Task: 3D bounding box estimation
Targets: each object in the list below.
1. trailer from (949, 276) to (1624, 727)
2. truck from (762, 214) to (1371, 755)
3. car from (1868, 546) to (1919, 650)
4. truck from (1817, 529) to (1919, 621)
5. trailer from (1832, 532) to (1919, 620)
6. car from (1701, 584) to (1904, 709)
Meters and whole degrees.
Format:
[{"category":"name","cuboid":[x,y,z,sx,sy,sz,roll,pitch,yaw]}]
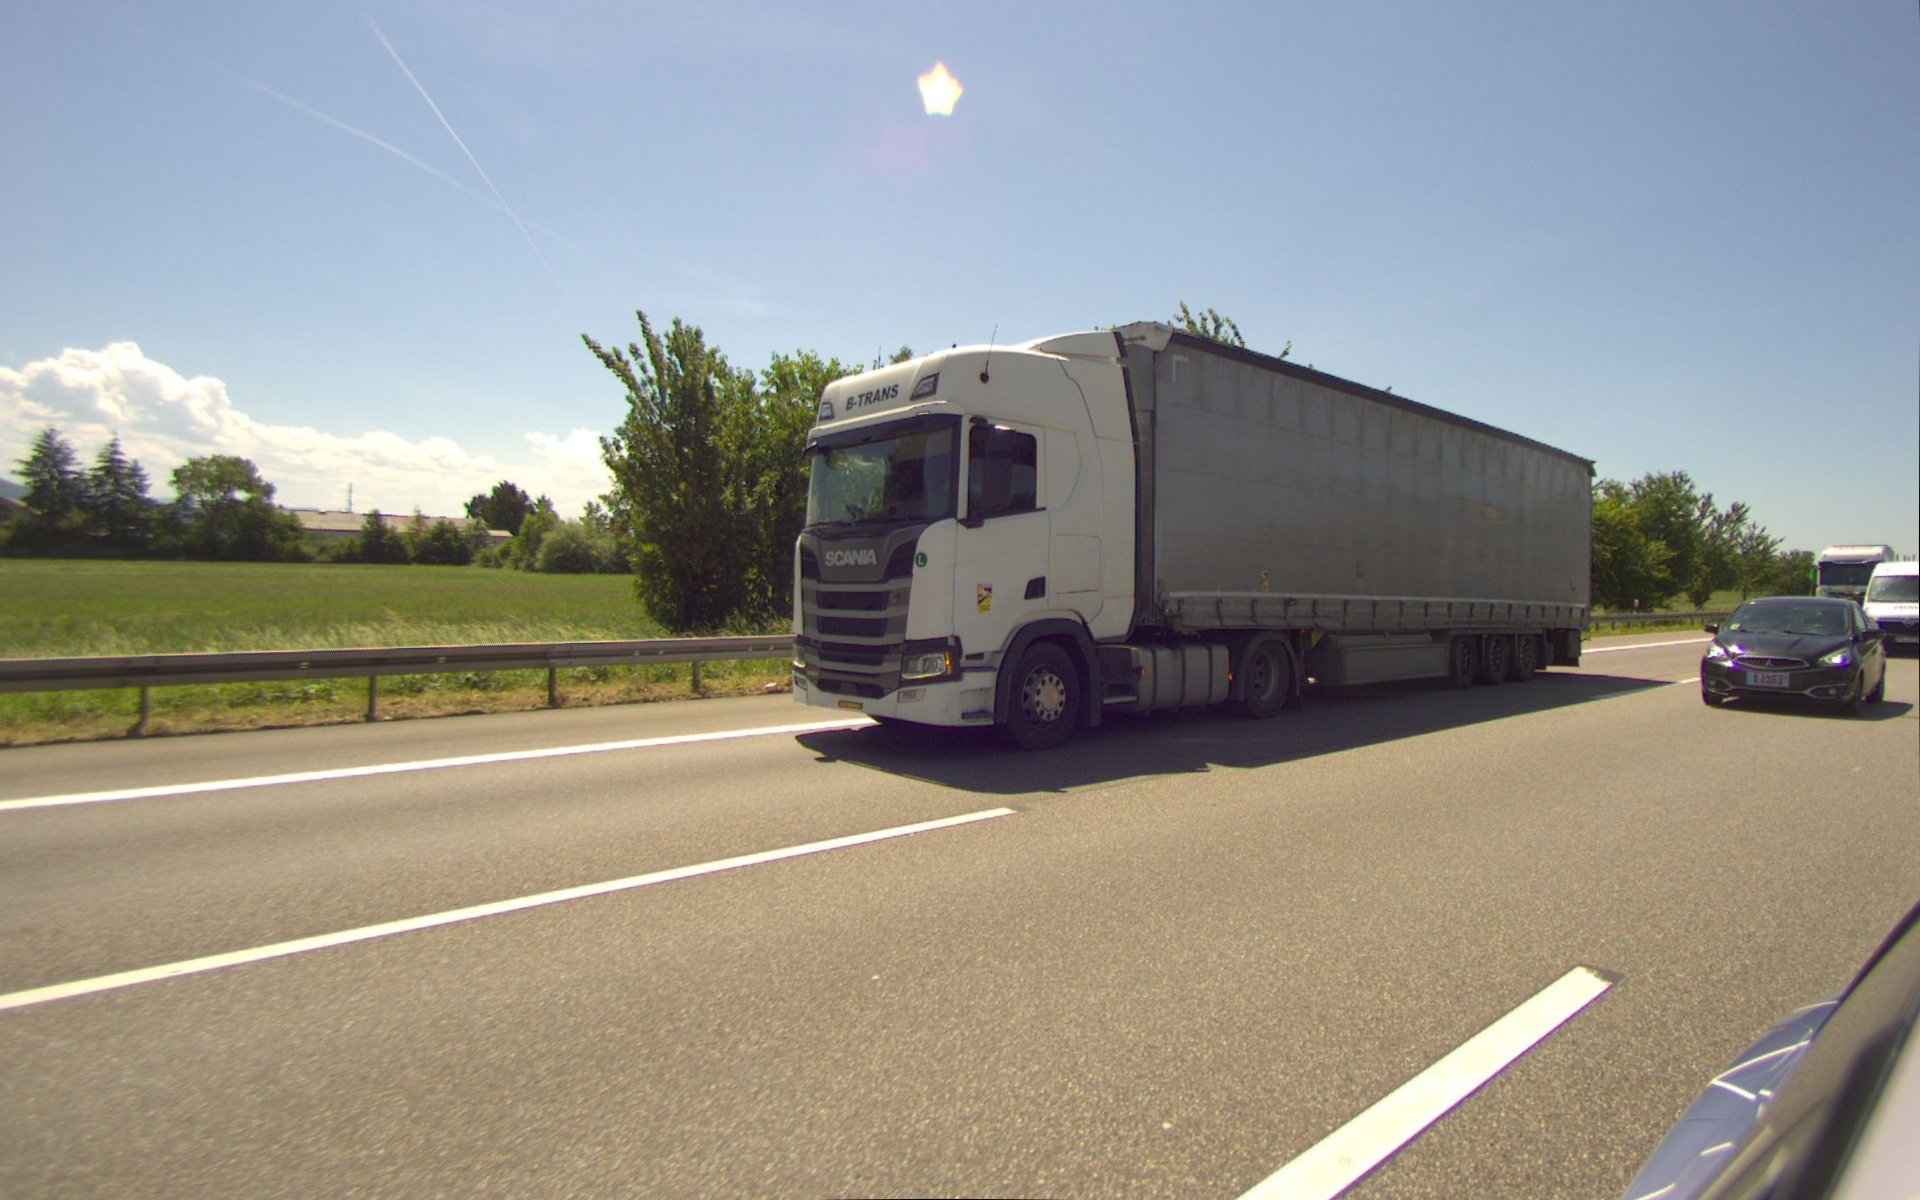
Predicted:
[{"category":"trailer","cuboid":[6.110,-1.013,15.380,14.002,4.358,2.815,0,0,-40]},{"category":"truck","cuboid":[1.571,-0.970,11.522,7.066,4.358,2.815,0,0,-40]},{"category":"car","cuboid":[25.620,-0.069,26.464,5.843,2.540,2.157,0,1,-42]},{"category":"truck","cuboid":[43.176,-1.117,47.811,7.563,4.016,2.700,0,0,-38]},{"category":"trailer","cuboid":[47.857,-1.129,51.526,13.706,4.016,2.699,0,0,-38]},{"category":"car","cuboid":[11.694,0.554,13.986,3.374,1.492,1.690,0,1,-42]}]
